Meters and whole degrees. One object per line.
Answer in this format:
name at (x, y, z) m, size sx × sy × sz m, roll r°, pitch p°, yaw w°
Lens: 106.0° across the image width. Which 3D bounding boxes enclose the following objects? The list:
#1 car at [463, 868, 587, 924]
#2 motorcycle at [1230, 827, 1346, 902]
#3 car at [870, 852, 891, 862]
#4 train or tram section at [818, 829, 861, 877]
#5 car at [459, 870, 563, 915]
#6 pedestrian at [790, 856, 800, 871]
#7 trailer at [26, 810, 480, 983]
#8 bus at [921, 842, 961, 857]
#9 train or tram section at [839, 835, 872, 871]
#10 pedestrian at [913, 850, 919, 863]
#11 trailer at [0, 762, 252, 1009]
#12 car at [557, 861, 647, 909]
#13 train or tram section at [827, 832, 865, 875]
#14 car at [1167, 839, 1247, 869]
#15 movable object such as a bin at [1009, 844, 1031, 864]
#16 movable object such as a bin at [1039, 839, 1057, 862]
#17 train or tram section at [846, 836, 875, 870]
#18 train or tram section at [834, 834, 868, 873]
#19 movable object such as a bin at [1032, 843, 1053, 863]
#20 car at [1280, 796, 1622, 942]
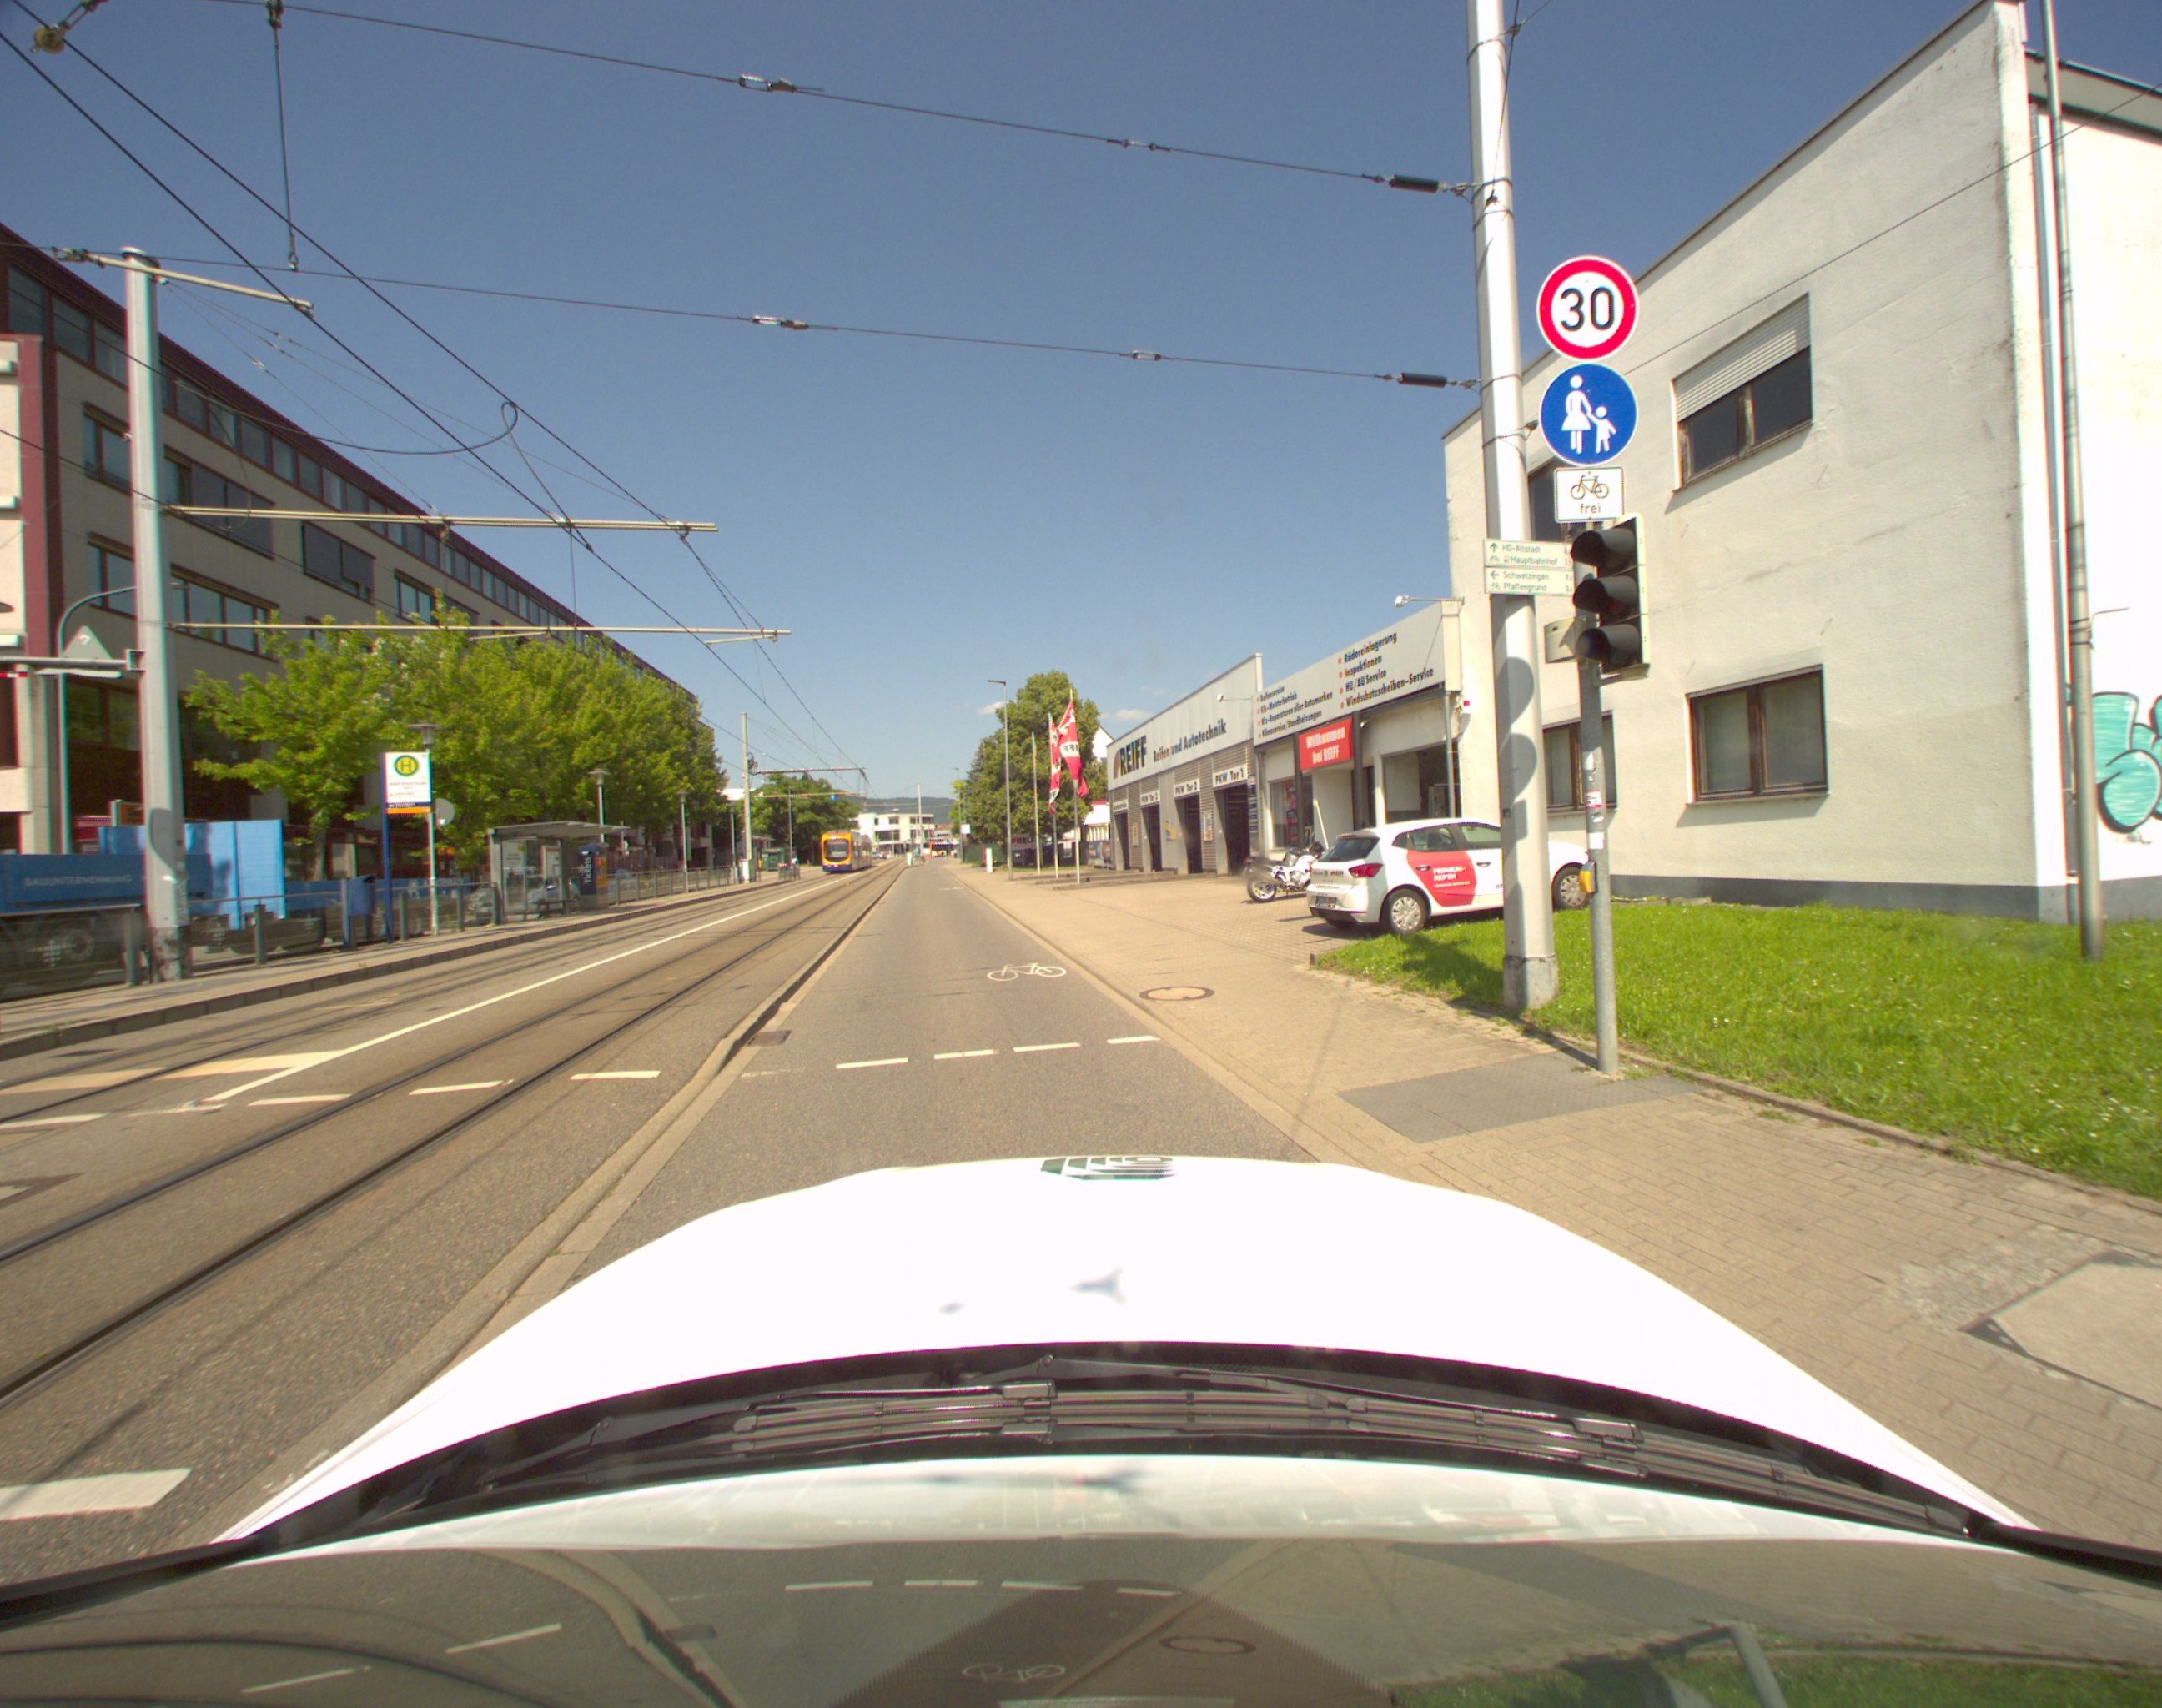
car at (-17.876, 1.283, 26.440) m, size 1.724 × 1.472 × 4.262 m, roll -4°, pitch 1°, yaw -12°
motorcycle at (4.336, 0.212, 17.082) m, size 2.186 × 1.308 × 0.728 m, roll -6°, pitch 0°, yaw -13°
car at (-42.276, 0.627, 171.697) m, size 3.950 × 1.750 × 1.786 m, roll -2°, pitch 0°, yaw 26°
train or tram section at (-19.415, -0.091, 65.798) m, size 2.613 × 3.532 × 5.719 m, roll -3°, pitch 1°, yaw -12°
car at (-21.590, 1.404, 31.024) m, size 1.723 × 1.463 × 3.890 m, roll -1°, pitch 0°, yaw -10°
pedestrian at (-30.839, 0.983, 87.920) m, size 0.835 × 1.537 × 0.835 m, roll -3°, pitch 1°, yaw -12°
trailer at (-16.028, 0.641, 16.871) m, size 2.800 × 2.628 × 7.568 m, roll -3°, pitch 1°, yaw -13°
bus at (-30.113, -0.959, 176.044) m, size 2.413 × 2.879 × 8.847 m, roll -2°, pitch 1°, yaw 41°
train or tram section at (-22.798, -0.102, 82.724) m, size 2.582 × 3.446 × 7.108 m, roll -3°, pitch 1°, yaw -12°
pedestrian at (-21.885, 0.352, 108.046) m, size 0.744 × 1.740 × 0.724 m, roll -3°, pitch 1°, yaw -12°
trailer at (-14.478, 0.439, 9.840) m, size 2.746 × 2.977 × 6.870 m, roll -3°, pitch 1°, yaw -12°
car at (-18.779, 1.168, 32.157) m, size 1.724 × 1.584 × 4.054 m, roll -5°, pitch 1°, yaw -12°
train or tram section at (-20.534, -0.040, 71.471) m, size 2.613 × 3.446 × 5.820 m, roll -3°, pitch 1°, yaw -12°
car at (6.572, -0.010, 42.572) m, size 3.770 × 1.376 × 1.716 m, roll -3°, pitch 1°, yaw -16°
movable object such as a bin at (-4.564, -0.008, 61.300) m, size 1.374 × 1.430 × 0.994 m, roll -3°, pitch -1°, yaw 13°
movable object such as a bin at (-2.381, -0.248, 59.167) m, size 0.980 × 1.547 × 1.314 m, roll -2°, pitch -1°, yaw -15°
train or tram section at (-24.120, -0.151, 89.316) m, size 2.582 × 3.446 × 6.337 m, roll -3°, pitch 1°, yaw -12°
train or tram section at (-21.620, -0.089, 76.775) m, size 2.613 × 3.446 × 4.990 m, roll -3°, pitch 1°, yaw -12°
movable object such as a bin at (-2.913, -0.084, 60.984) m, size 1.307 × 1.430 × 0.888 m, roll -3°, pitch -1°, yaw 13°
car at (5.127, 0.159, 11.480) m, size 3.992 × 1.462 × 1.881 m, roll -6°, pitch 1°, yaw -13°
